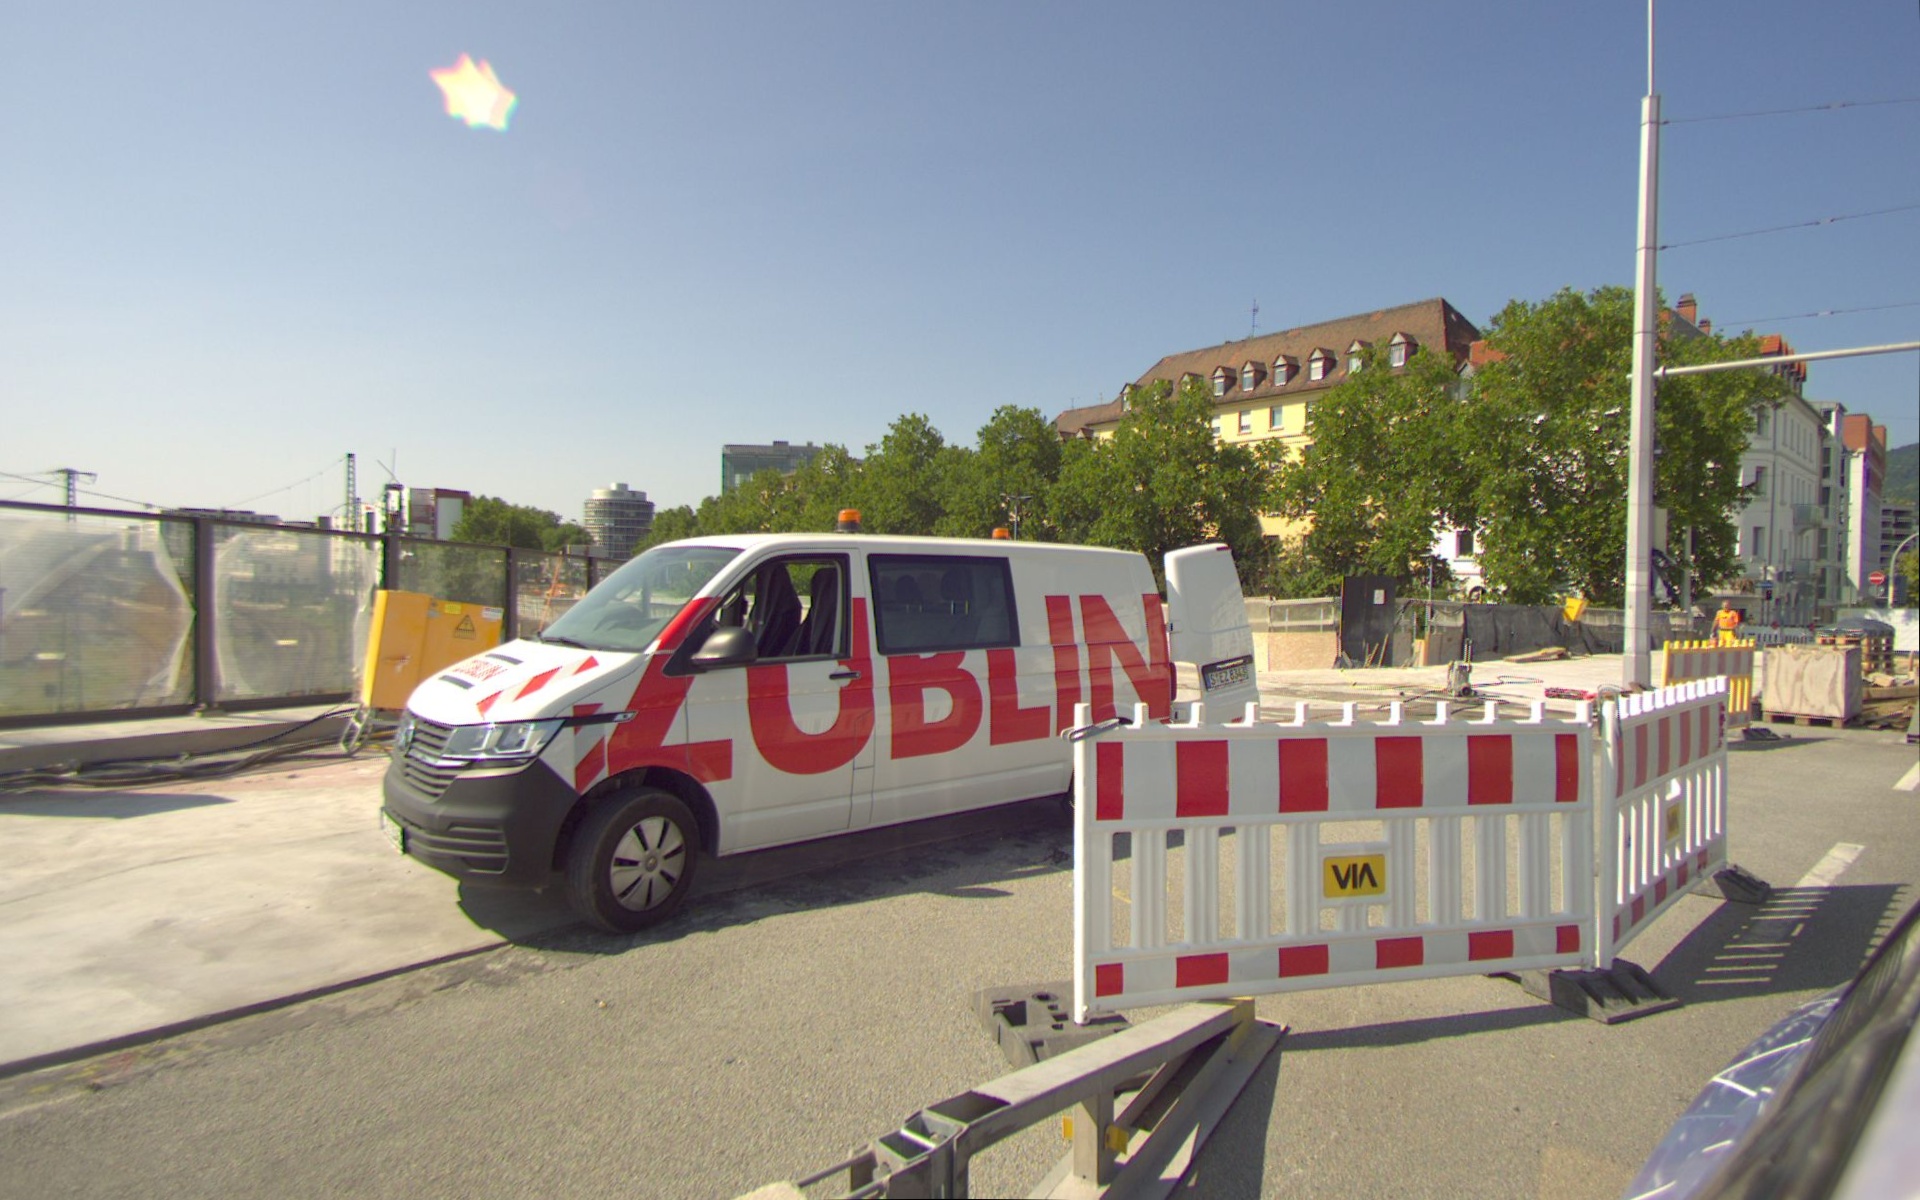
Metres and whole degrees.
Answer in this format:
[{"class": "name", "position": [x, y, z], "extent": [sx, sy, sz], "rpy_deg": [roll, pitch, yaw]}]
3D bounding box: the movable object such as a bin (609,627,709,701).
[{"class": "movable object such as a bin", "position": [-4.055, 0.851, 13.688], "extent": [1.083, 0.853, 0.757], "rpy_deg": [5, 0, -2]}]

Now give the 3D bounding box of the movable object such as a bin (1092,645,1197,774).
[{"class": "movable object such as a bin", "position": [1.722, 1.003, 9.588], "extent": [0.876, 1.087, 0.941], "rpy_deg": [1, 0, 5]}]

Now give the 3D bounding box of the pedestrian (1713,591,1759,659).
[{"class": "pedestrian", "position": [21.830, 0.690, 28.467], "extent": [0.849, 1.817, 0.821], "rpy_deg": [1, 2, -42]}]

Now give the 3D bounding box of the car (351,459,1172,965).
[{"class": "car", "position": [-0.921, 0.440, 6.398], "extent": [4.804, 2.059, 1.882], "rpy_deg": [0, 0, -40]}]
